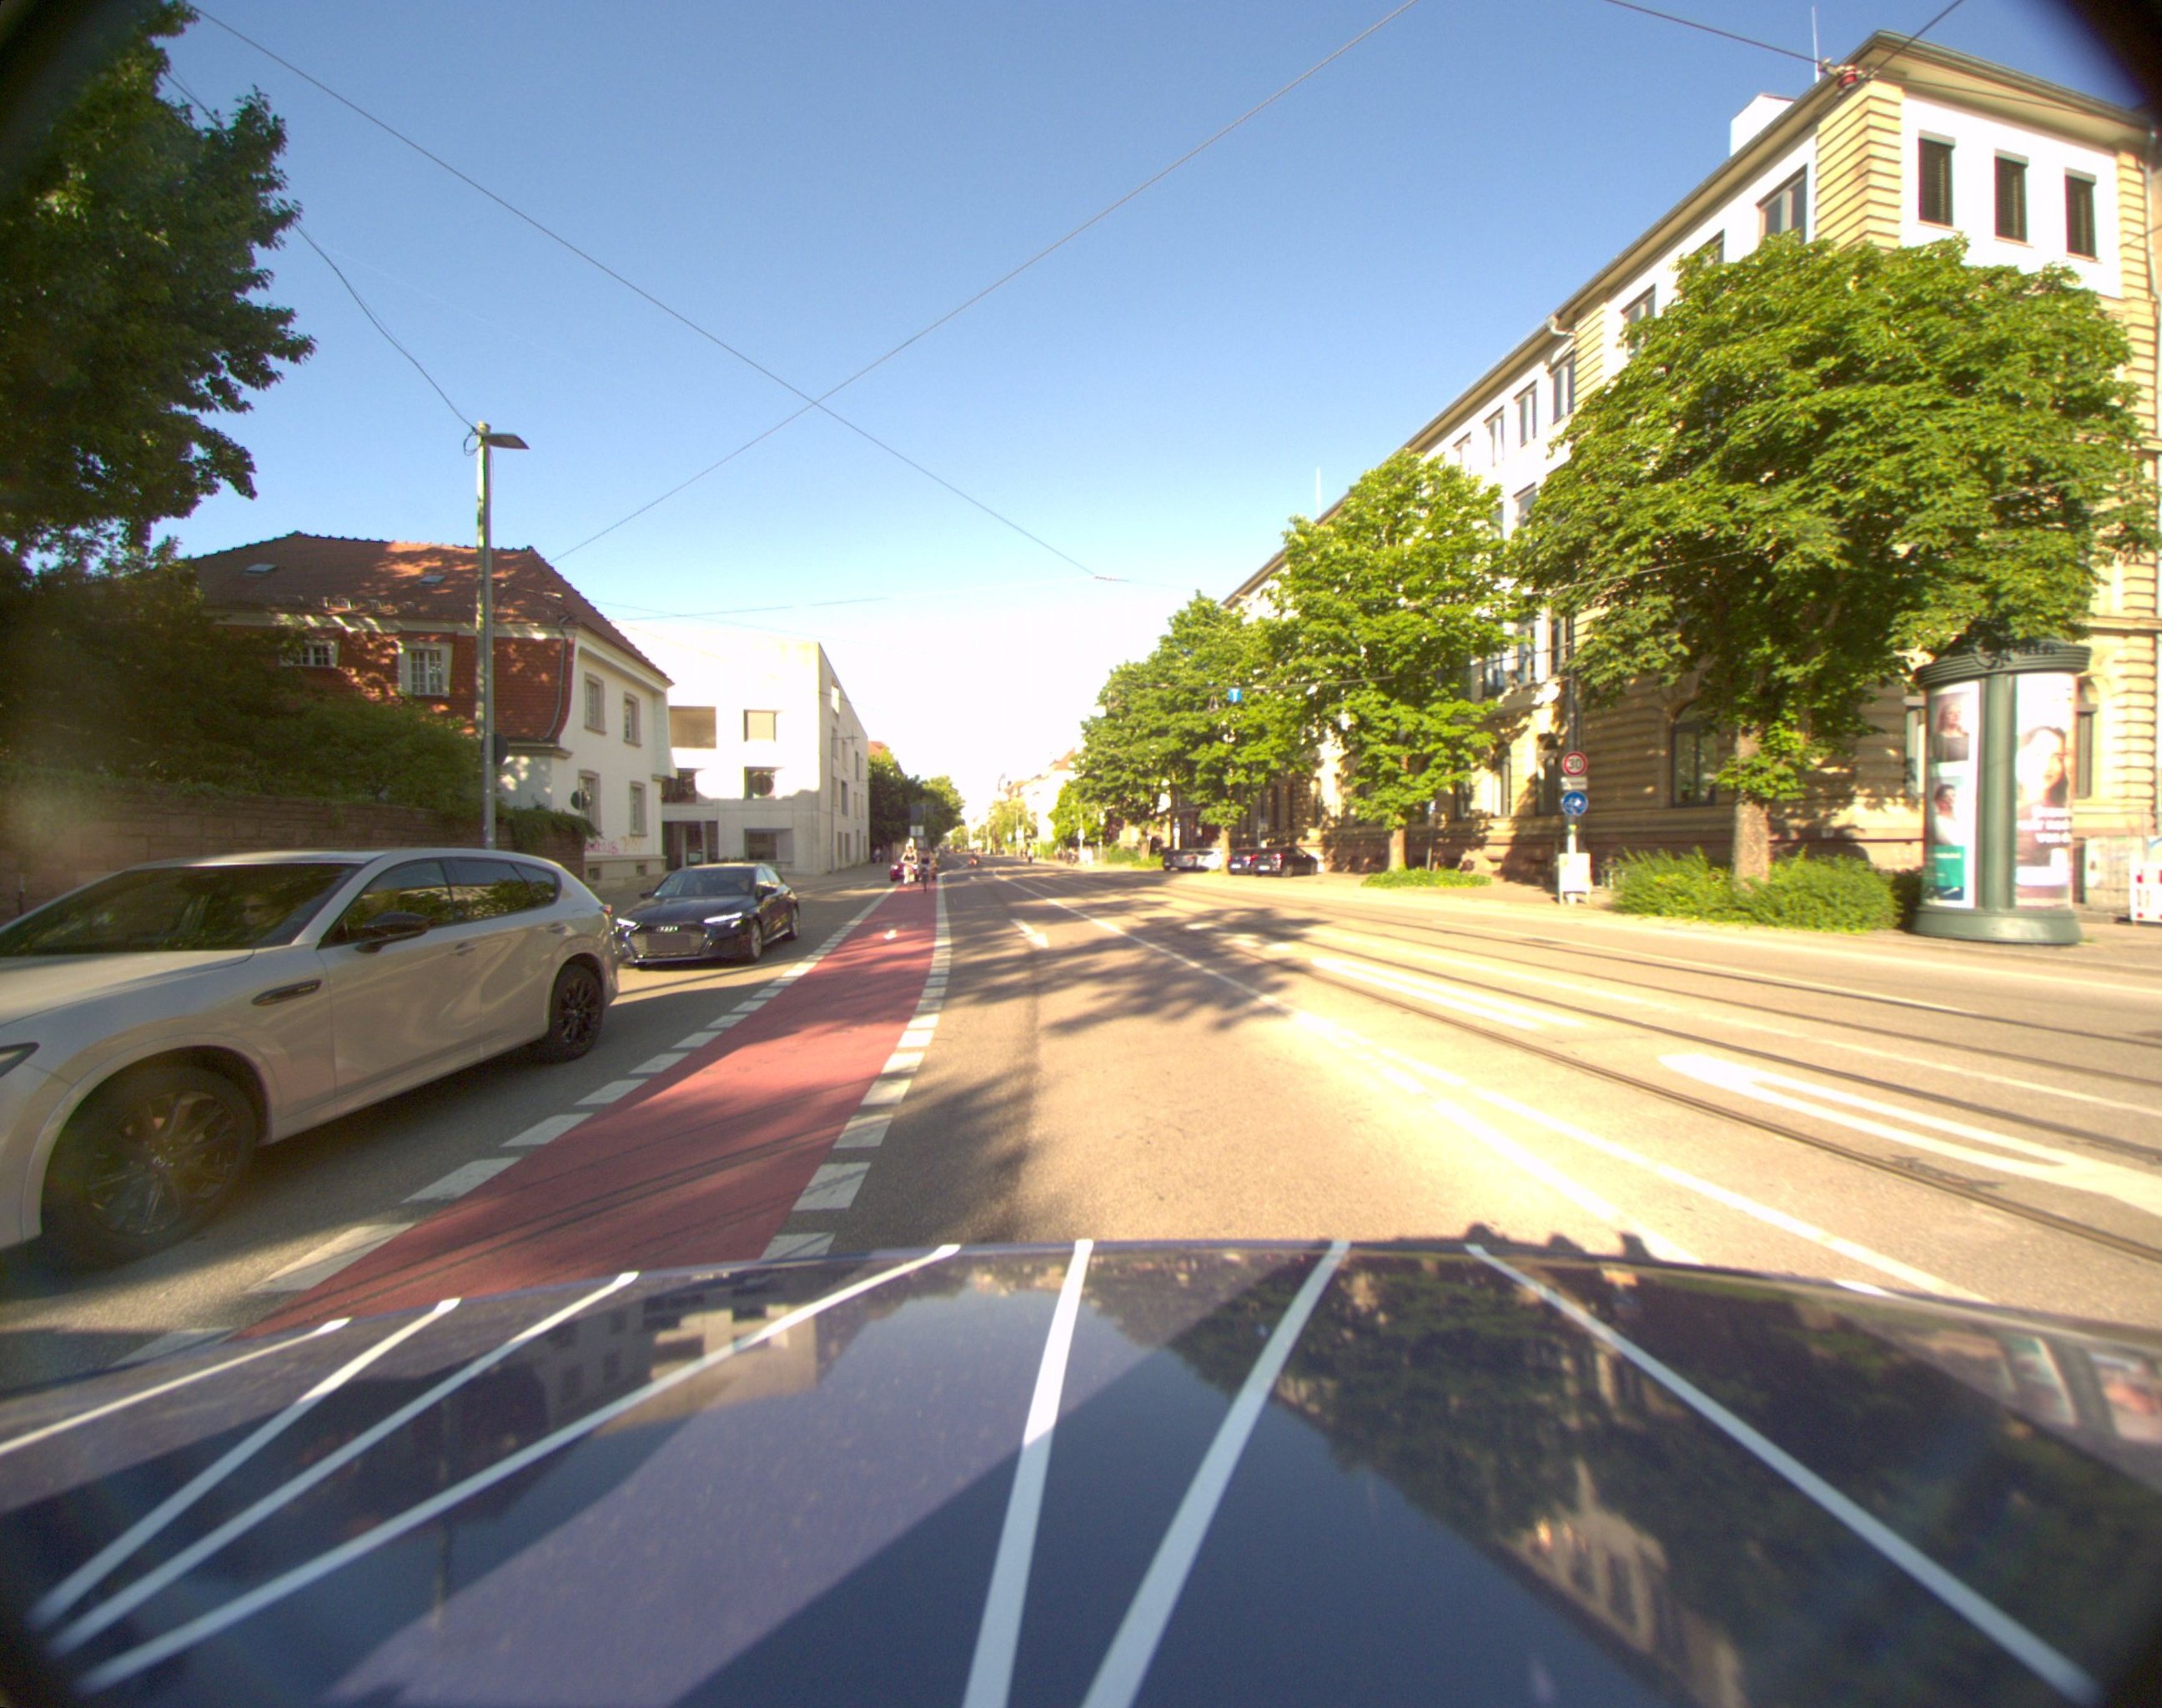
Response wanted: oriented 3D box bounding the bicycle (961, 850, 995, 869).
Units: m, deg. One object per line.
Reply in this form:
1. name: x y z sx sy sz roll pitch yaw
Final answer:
1. bicycle: -7.162 0.363 52.966 0.674 1.243 2.462 1 1 43

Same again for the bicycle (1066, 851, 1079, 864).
1. bicycle: -0.783 0.298 72.388 0.675 1.243 2.459 0 1 12

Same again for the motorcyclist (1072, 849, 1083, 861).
1. motorcyclist: -0.325 0.103 75.383 0.674 1.243 0.855 1 1 37

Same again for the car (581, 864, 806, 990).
1. car: -5.636 0.952 11.676 1.789 1.425 3.997 -2 1 -8

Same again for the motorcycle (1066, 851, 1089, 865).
1. motorcycle: -0.348 0.437 75.412 2.269 1.285 0.679 -3 1 -38

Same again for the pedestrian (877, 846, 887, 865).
1. pedestrian: -17.062 0.099 65.243 0.676 1.638 0.817 -1 1 -9

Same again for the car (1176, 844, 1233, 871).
1. car: 7.887 0.221 48.477 3.657 1.552 1.645 -3 1 -43

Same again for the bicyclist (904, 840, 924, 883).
1. bicyclist: -6.562 0.284 29.916 0.676 1.638 1.028 0 1 -8

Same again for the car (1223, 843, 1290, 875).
1. car: 9.399 0.246 40.532 3.657 1.552 1.645 -3 1 -43

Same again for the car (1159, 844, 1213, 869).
1. car: 7.210 0.183 51.888 3.657 1.552 1.645 -3 1 -43

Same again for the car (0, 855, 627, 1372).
1. car: -4.782 0.917 4.279 1.946 1.682 4.528 -2 1 -5

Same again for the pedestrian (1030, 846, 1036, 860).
1. pedestrian: -5.362 -0.123 84.905 0.675 1.638 0.817 -1 1 0

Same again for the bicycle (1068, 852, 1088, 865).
1. bicycle: -0.286 0.408 75.437 0.674 1.243 2.462 1 1 37

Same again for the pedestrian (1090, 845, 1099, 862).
1. pedestrian: 1.259 -0.021 72.698 0.676 1.638 0.817 -1 1 -9

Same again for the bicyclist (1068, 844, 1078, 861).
1. bicyclist: -0.774 -0.118 72.366 0.674 1.638 1.030 0 1 13

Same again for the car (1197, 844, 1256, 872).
1. car: 8.867 0.227 46.247 3.657 1.552 1.645 -3 1 -43

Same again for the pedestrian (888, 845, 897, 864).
1. pedestrian: -16.245 0.064 65.459 0.676 1.638 0.817 -1 1 -9

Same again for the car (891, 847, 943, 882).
1. car: -8.070 0.494 37.740 1.649 1.552 3.650 -2 1 1

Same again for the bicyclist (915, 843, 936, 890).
1. bicyclist: -5.637 0.440 27.568 0.676 1.638 1.028 0 1 -8

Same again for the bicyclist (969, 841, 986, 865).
1. bicyclist: -7.205 -0.066 52.913 0.674 1.638 1.031 1 2 43

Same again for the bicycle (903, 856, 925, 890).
1. bicycle: -6.569 0.724 29.972 0.676 1.243 2.454 0 1 -8

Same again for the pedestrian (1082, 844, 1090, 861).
1. pedestrian: 0.489 -0.116 72.652 0.676 1.638 0.817 -1 1 -9

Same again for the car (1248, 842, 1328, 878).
1. car: 10.364 0.271 37.873 4.189 1.621 1.841 -3 1 -43

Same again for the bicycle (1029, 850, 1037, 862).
1. bicycle: -5.360 0.238 84.924 0.676 1.243 2.456 -1 1 1

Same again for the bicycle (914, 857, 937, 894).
1. bicycle: -5.653 0.760 27.648 0.676 1.243 2.454 0 1 -8
